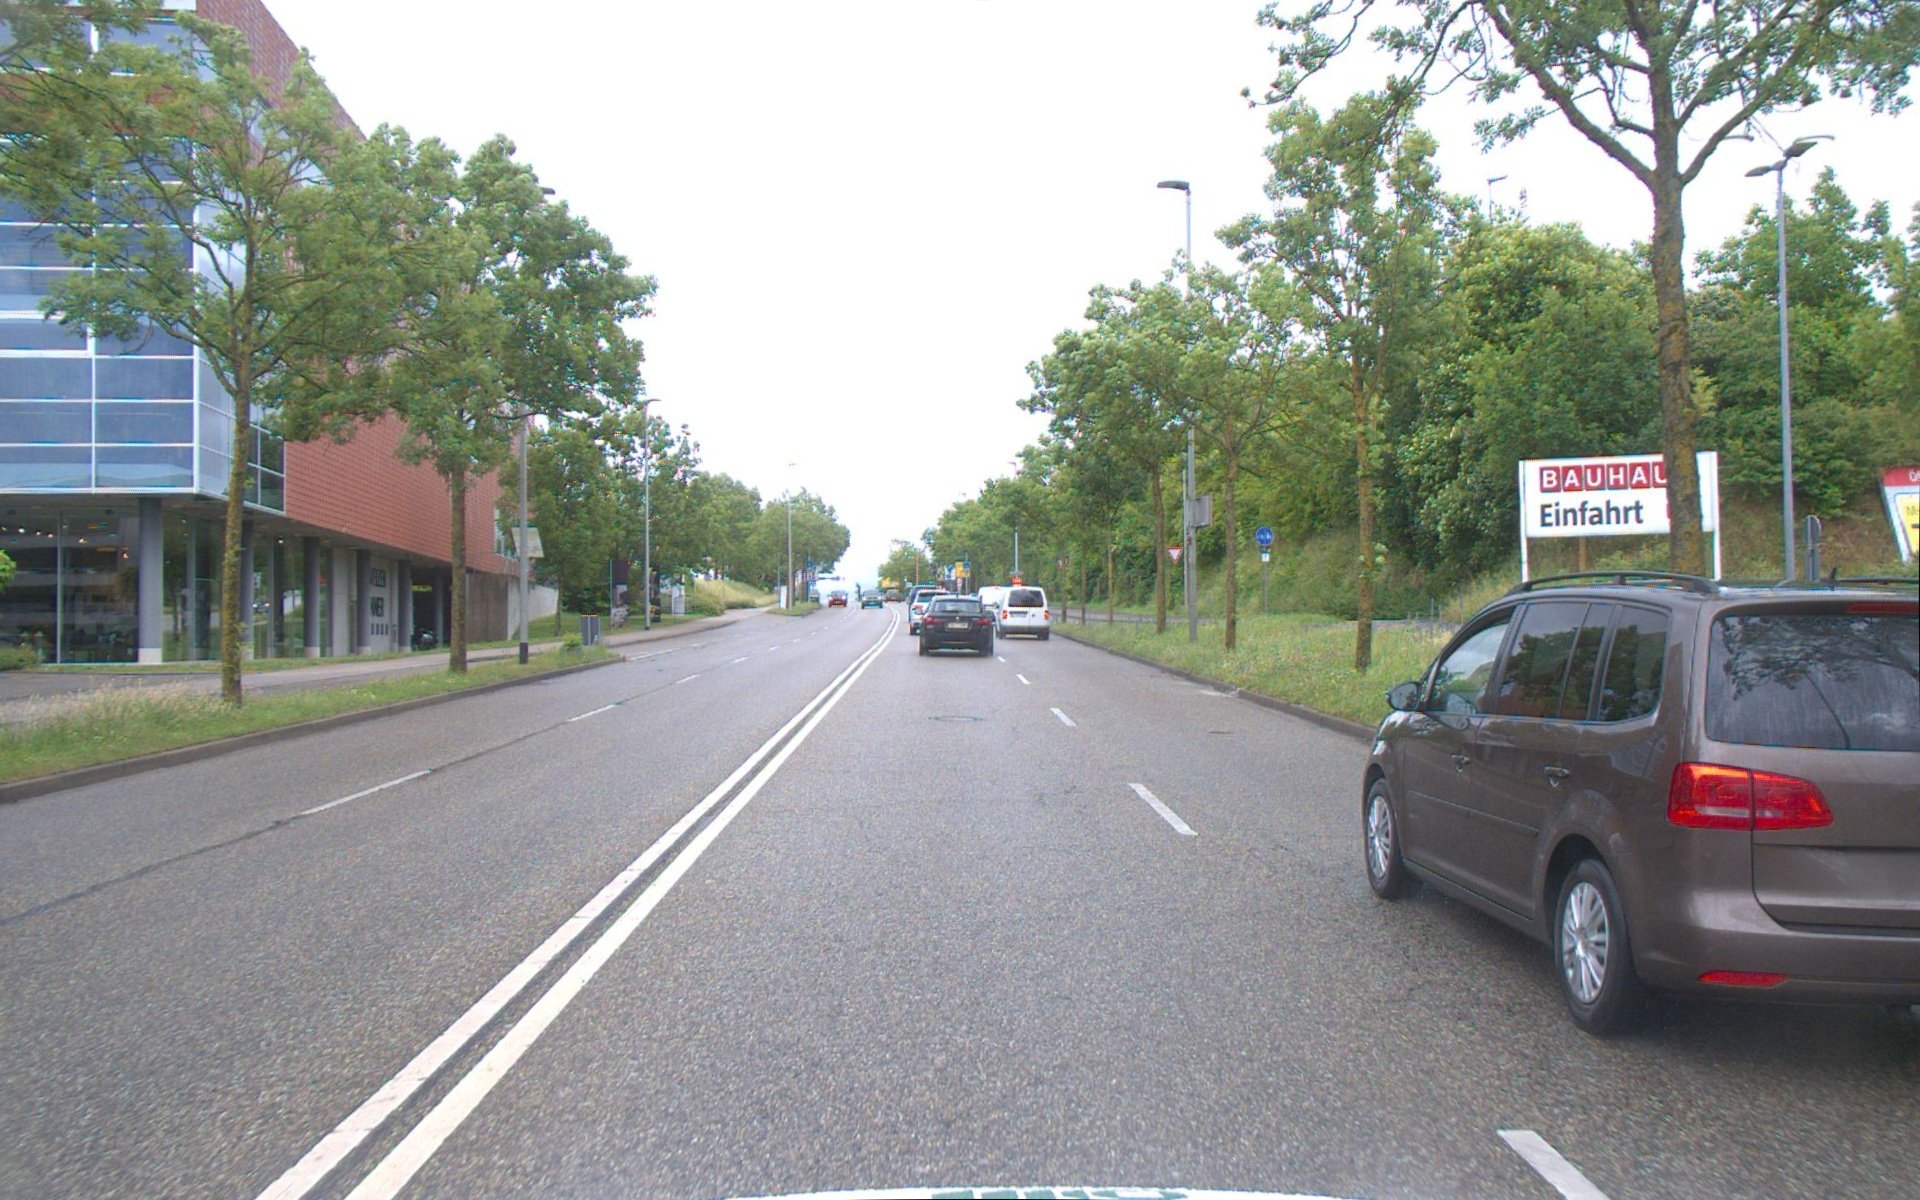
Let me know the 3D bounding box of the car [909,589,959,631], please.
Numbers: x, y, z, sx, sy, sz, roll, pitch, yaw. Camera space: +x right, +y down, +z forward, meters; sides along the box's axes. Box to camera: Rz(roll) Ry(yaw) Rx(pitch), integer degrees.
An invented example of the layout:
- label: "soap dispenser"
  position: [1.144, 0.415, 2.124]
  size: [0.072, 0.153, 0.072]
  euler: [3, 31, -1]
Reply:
- label: "car"
  position: [-1.016, 0.386, 62.929]
  size: [1.758, 1.537, 3.998]
  euler: [1, -1, -2]

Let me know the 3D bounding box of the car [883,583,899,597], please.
- label: "car"
  position: [-7.883, -1.125, 187.935]
  size: [1.758, 1.537, 3.997]
  euler: [1, -1, -3]

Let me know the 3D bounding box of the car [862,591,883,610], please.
- label: "car"
  position: [-7.656, 0.047, 144.938]
  size: [1.759, 1.537, 3.996]
  euler: [1, -1, -4]

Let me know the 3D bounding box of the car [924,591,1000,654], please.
- label: "car"
  position: [0.031, 0.520, 41.527]
  size: [1.790, 1.494, 4.000]
  euler: [0, 0, -1]

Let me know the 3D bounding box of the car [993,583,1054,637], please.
- label: "car"
  position: [2.190, 0.316, 58.090]
  size: [1.790, 1.790, 3.998]
  euler: [1, 0, -2]

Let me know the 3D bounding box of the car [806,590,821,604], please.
- label: "car"
  position: [-17.096, -0.344, 193.132]
  size: [1.759, 1.537, 3.996]
  euler: [1, -1, -4]

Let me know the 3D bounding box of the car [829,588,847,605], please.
- label: "car"
  position: [-11.841, -0.310, 160.533]
  size: [1.759, 1.537, 3.996]
  euler: [1, -1, -4]

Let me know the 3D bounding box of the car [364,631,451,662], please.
- label: "car"
  position: [-25.531, 2.135, 76.452]
  size: [3.463, 1.307, 1.521]
  euler: [1, -1, 1]

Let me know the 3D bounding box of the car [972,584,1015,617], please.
- label: "car"
  position: [1.614, 0.042, 80.328]
  size: [1.758, 1.537, 3.997]
  euler: [1, -1, -3]

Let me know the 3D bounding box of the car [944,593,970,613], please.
- label: "car"
  position: [-0.273, 0.241, 130.013]
  size: [1.759, 1.537, 3.996]
  euler: [1, -1, -4]

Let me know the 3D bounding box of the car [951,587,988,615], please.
- label: "car"
  position: [0.521, 0.060, 93.804]
  size: [1.759, 1.537, 3.996]
  euler: [1, -1, -4]

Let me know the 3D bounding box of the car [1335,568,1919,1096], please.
- label: "car"
  position: [3.008, 0.707, 7.193]
  size: [1.651, 1.609, 4.217]
  euler: [0, 0, -2]

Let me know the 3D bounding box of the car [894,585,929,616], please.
- label: "car"
  position: [-2.508, 0.045, 84.704]
  size: [1.758, 1.537, 3.998]
  euler: [1, -1, -2]

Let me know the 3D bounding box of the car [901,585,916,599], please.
- label: "car"
  position: [-6.201, -0.985, 198.169]
  size: [1.758, 1.537, 3.997]
  euler: [1, -1, -3]
